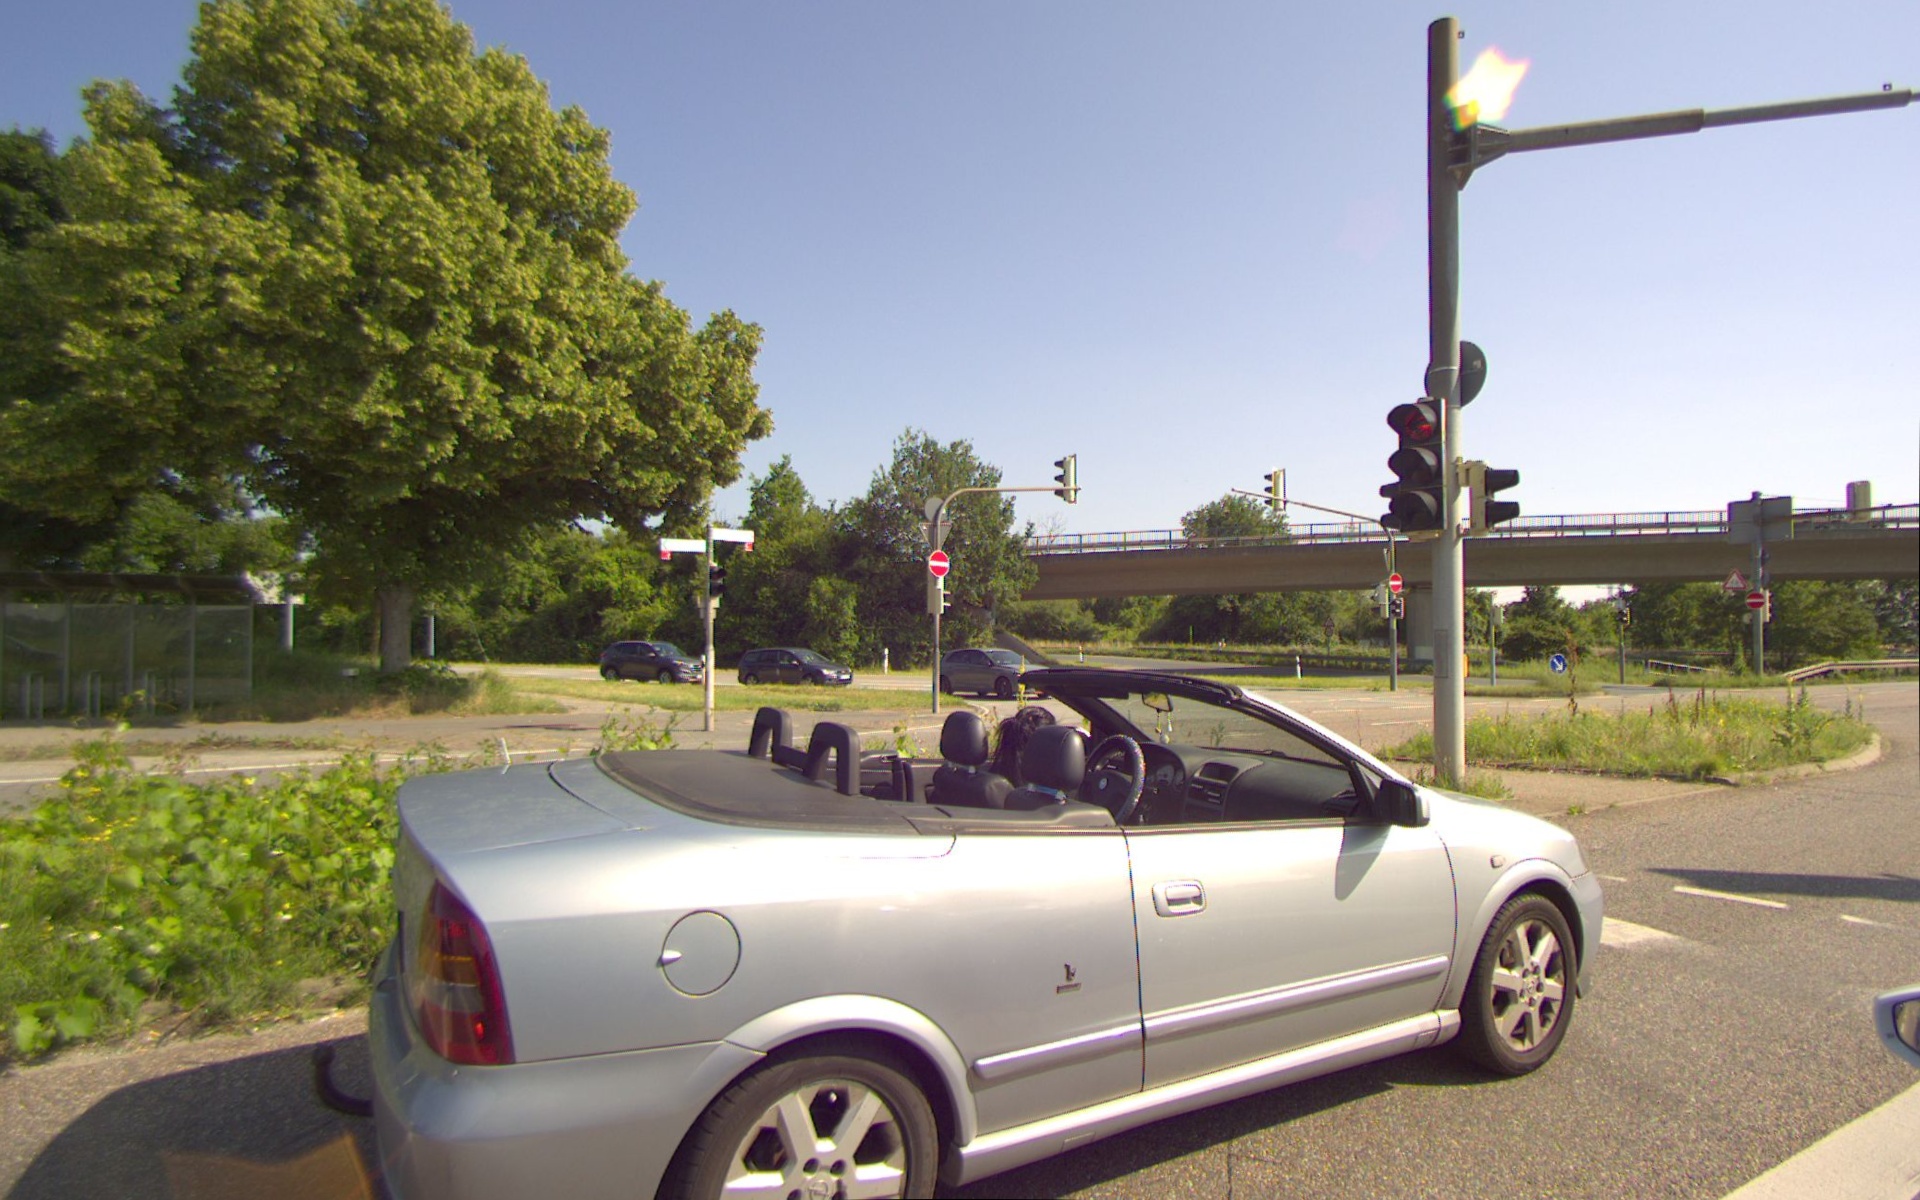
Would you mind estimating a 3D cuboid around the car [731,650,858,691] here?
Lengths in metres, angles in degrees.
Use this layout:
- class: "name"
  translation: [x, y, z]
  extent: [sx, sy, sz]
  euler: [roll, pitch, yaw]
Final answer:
- class: "car"
  translation: [-5.767, 2.416, 34.869]
  extent: [4.276, 1.297, 1.648]
  euler: [-1, -2, 30]

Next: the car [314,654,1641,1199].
- class: "car"
  translation: [0.310, 0.876, 3.360]
  extent: [4.049, 1.352, 1.666]
  euler: [1, -3, -30]

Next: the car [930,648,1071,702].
- class: "car"
  translation: [1.120, 2.140, 29.499]
  extent: [1.857, 1.443, 4.076]
  euler: [2, -3, -42]

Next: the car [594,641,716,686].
- class: "car"
  translation: [-11.390, 2.341, 37.518]
  extent: [4.270, 1.616, 1.651]
  euler: [-1, -2, 22]

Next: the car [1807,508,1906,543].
- class: "car"
  translation: [44.523, -3.679, 49.944]
  extent: [3.322, 1.497, 1.543]
  euler: [0, -3, 7]
